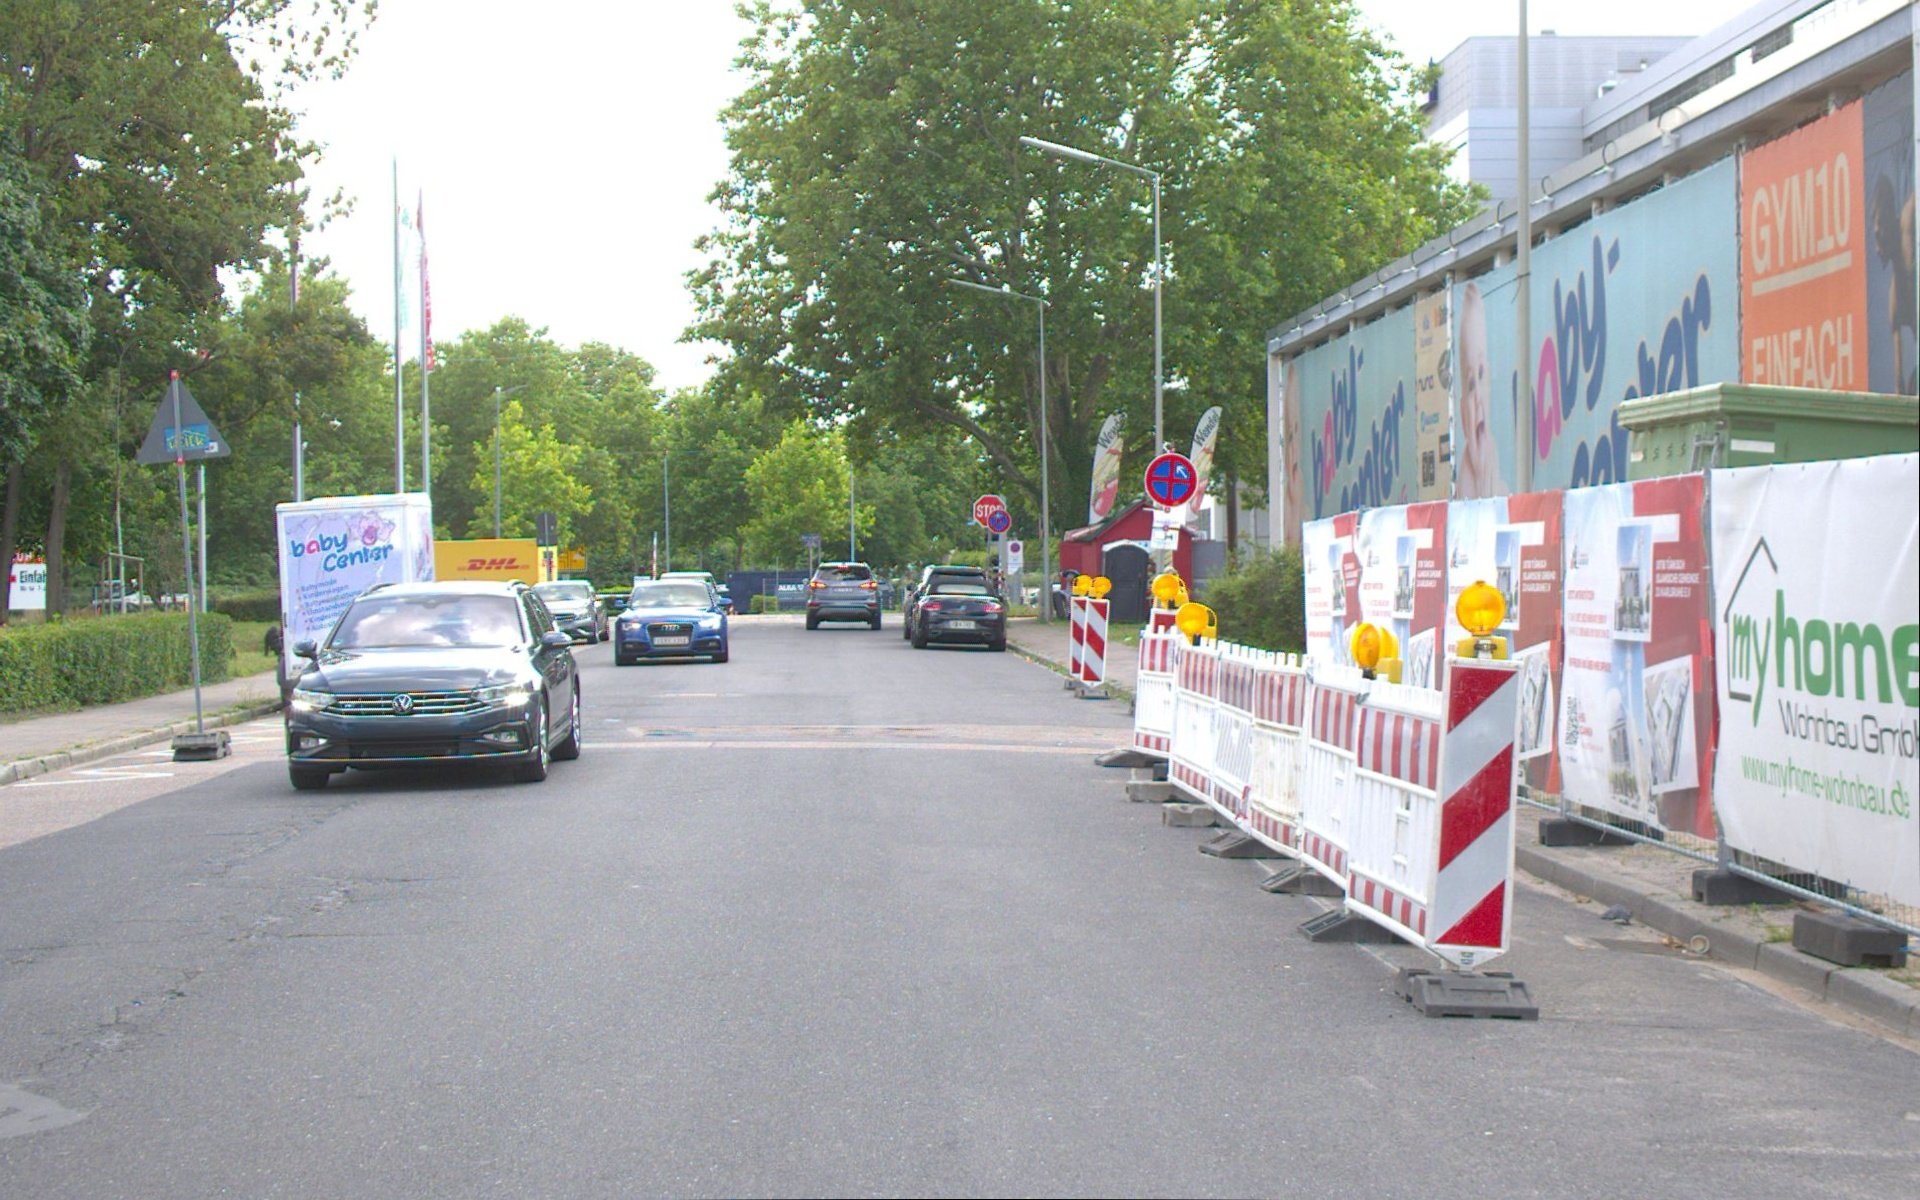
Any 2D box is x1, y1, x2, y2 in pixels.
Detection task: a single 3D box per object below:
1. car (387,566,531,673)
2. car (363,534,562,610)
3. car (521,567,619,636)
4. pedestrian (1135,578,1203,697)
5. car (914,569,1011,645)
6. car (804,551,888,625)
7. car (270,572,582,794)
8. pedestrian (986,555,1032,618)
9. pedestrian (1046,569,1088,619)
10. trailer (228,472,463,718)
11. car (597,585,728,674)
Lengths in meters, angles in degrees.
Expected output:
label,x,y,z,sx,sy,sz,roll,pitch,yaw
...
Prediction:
label,x,y,z,sx,sy,sz,roll,pitch,yaw
car,-7.670,0.263,52.950,1.765,1.474,4.236,-3,1,-3
car,-17.140,-0.963,118.514,6.387,2.569,2.205,0,1,13
car,-8.755,0.011,77.485,1.709,1.415,4.331,-3,1,-1
pedestrian,2.722,0.479,44.817,0.681,1.528,1.130,0,0,-7
car,0.016,0.109,68.308,1.808,1.386,4.588,2,1,-1
car,-2.924,-0.324,87.316,1.961,1.809,4.276,0,1,-4
car,-3.928,0.553,25.931,1.796,1.454,4.385,-2,1,-2
pedestrian,1.452,-0.397,101.973,1.000,1.843,1.229,0,0,-20
pedestrian,2.788,-0.160,89.588,1.014,1.309,0.964,0,0,6
trailer,-7.500,-0.089,42.418,2.139,2.773,4.704,-3,1,-3
car,-4.925,0.456,57.372,1.923,1.372,4.380,0,1,-2
